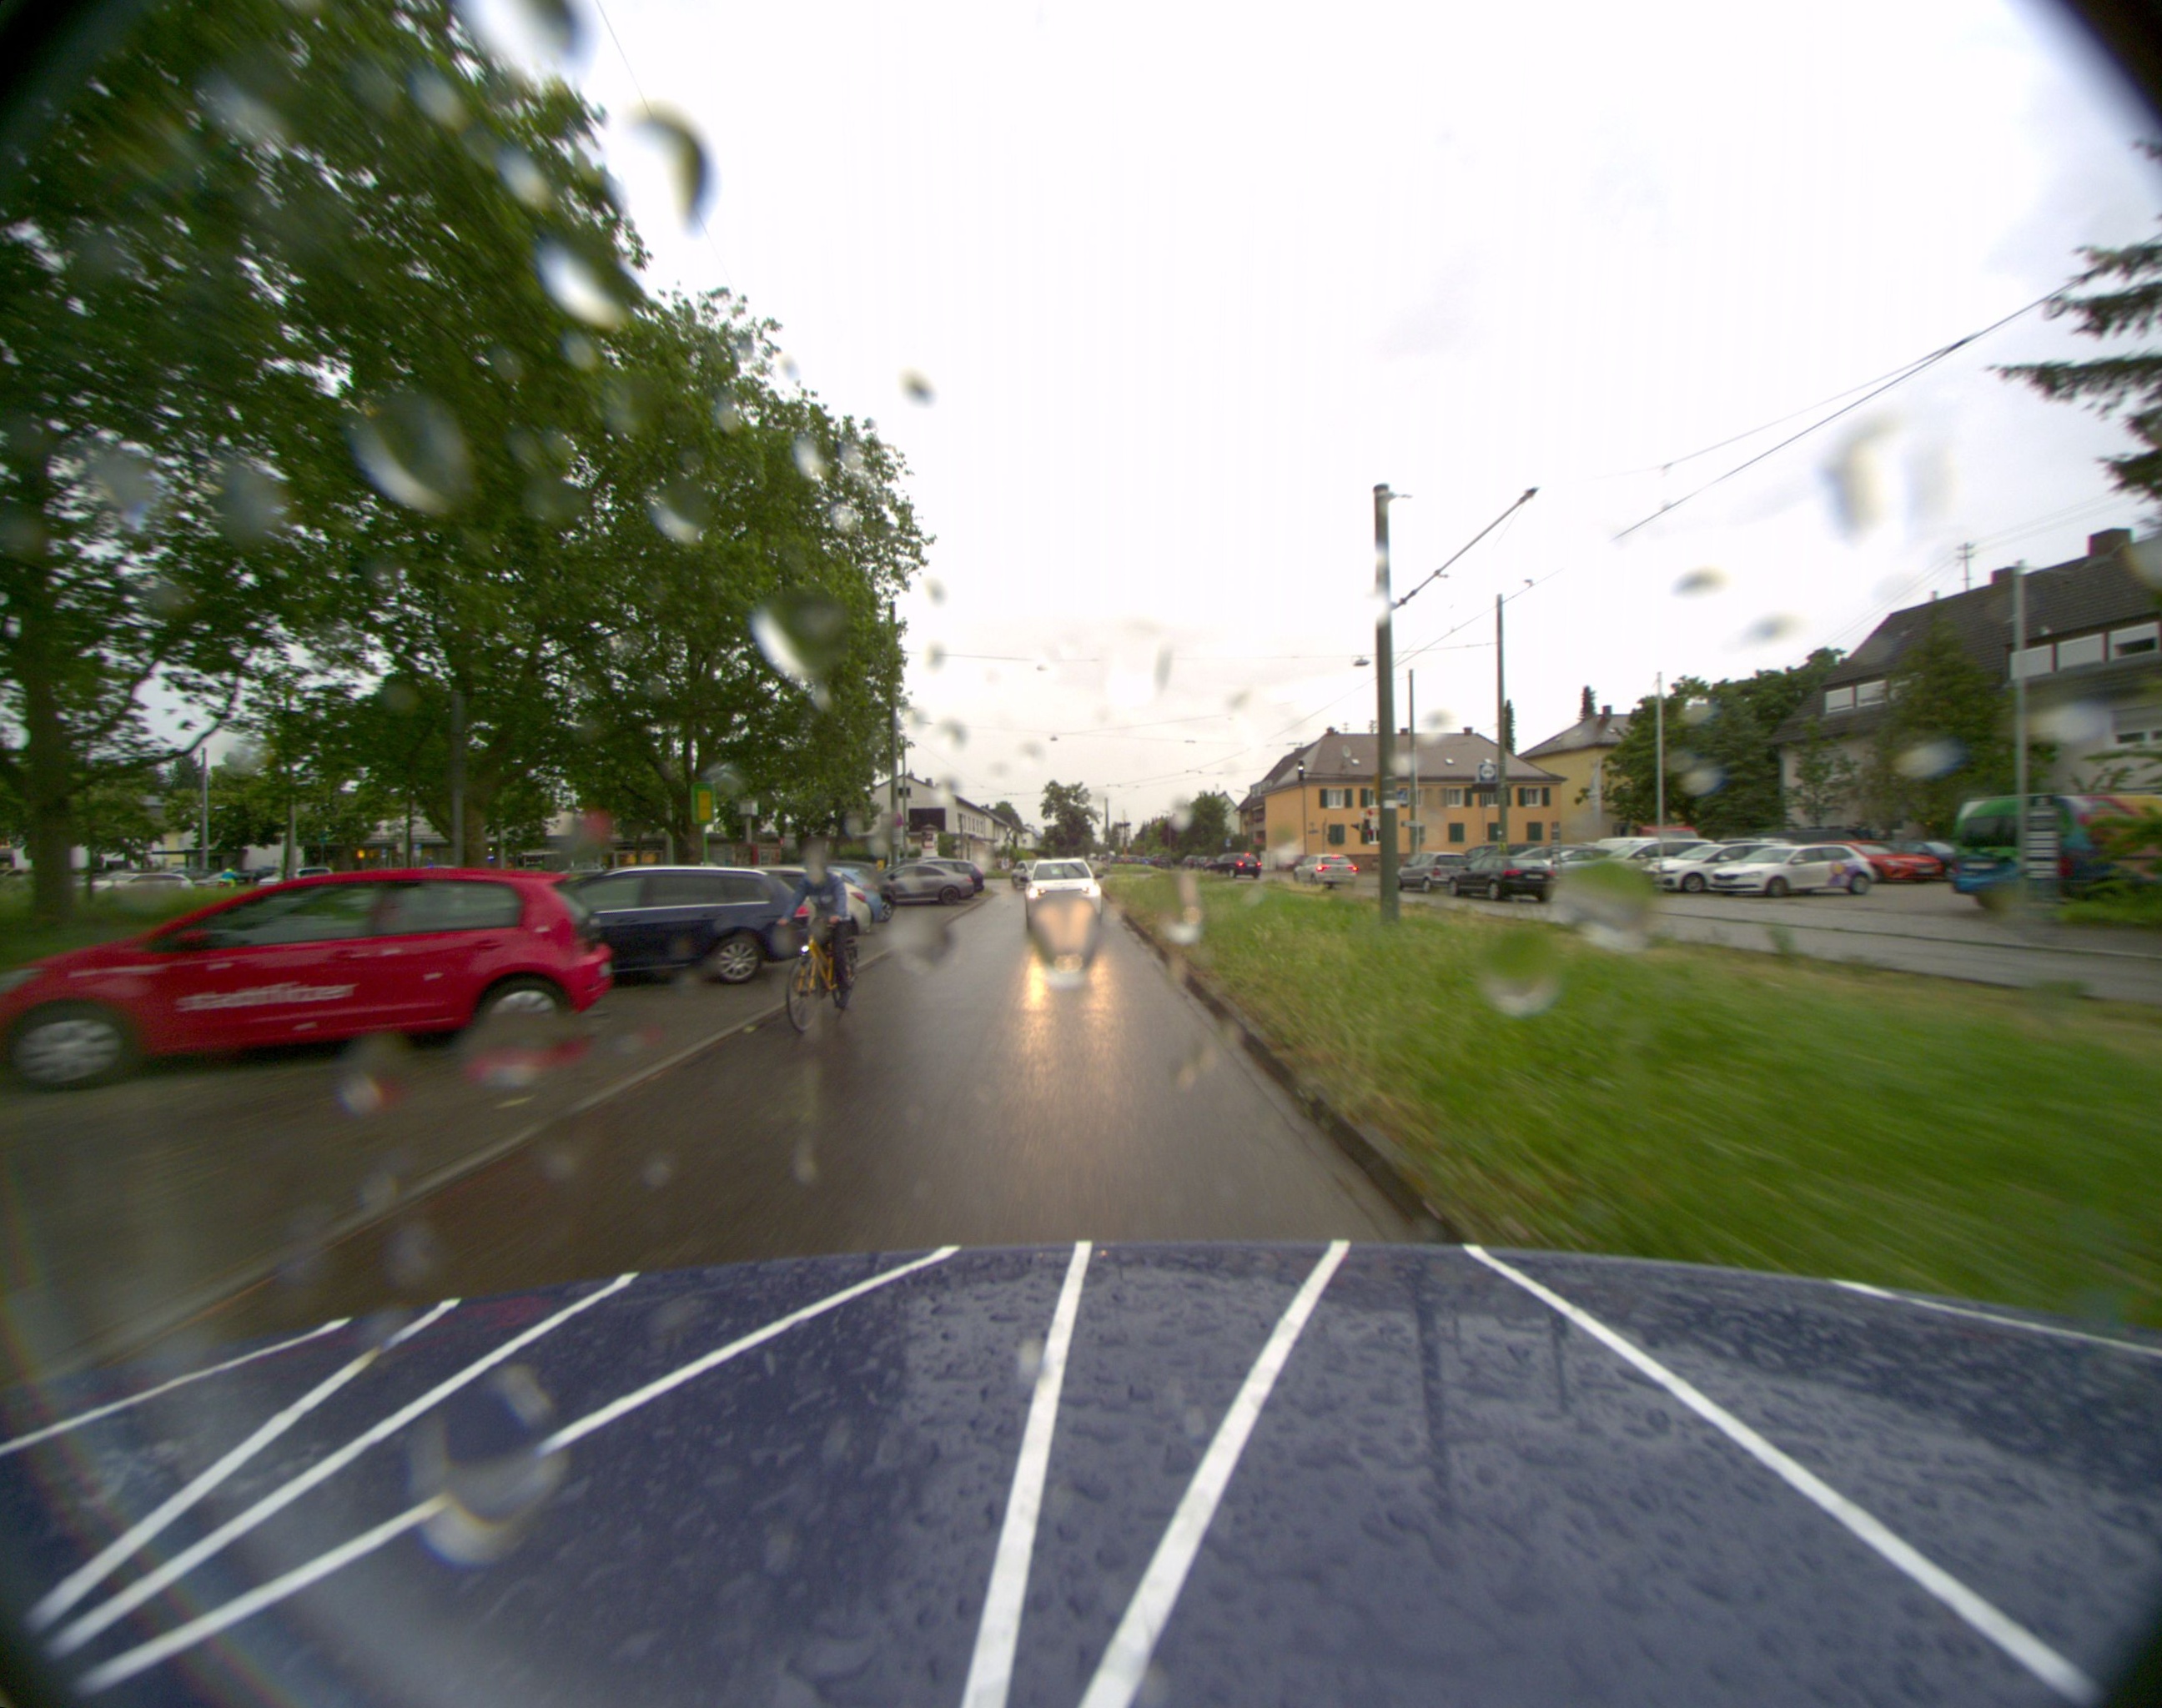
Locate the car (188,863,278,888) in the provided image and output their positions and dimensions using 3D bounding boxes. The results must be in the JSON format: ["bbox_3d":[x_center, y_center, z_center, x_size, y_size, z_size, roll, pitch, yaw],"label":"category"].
[{"bbox_3d":[-62.522,1.556,56.140,1.999,1.562,4.090,-1,2,0],"label":"car"}]

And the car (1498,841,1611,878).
[{"bbox_3d":[20.611,0.212,33.288,4.047,1.496,1.836,0,3,27],"label":"car"}]

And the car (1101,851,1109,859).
[{"bbox_3d":[6.600,0.274,207.858,1.999,1.784,3.997,-1,2,-3],"label":"car"}]

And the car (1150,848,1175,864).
[{"bbox_3d":[9.737,0.234,91.303,2.000,1.784,3.995,-1,2,-8],"label":"car"}]

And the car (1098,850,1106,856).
[{"bbox_3d":[6.234,-0.295,226.670,1.999,1.784,3.997,-1,2,-3],"label":"car"}]

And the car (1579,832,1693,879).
[{"bbox_3d":[25.045,0.059,34.493,1.998,2.002,4.447,0,0,1],"label":"car"}]

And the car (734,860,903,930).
[{"bbox_3d":[-6.396,0.934,18.610,3.524,1.497,1.749,1,1,-37],"label":"car"}]

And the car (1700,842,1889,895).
[{"bbox_3d":[20.839,0.404,22.319,3.838,1.388,1.722,-1,3,2],"label":"car"}]

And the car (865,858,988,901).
[{"bbox_3d":[-5.845,0.922,28.820,4.184,1.467,1.800,-1,0,-31],"label":"car"}]

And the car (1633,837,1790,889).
[{"bbox_3d":[20.465,0.275,24.768,3.613,1.564,1.722,-1,3,2],"label":"car"}]

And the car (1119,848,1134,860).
[{"bbox_3d":[7.305,-0.020,121.516,1.999,1.784,3.997,-1,2,-3],"label":"car"}]

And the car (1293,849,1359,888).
[{"bbox_3d":[10.407,0.588,32.530,1.605,1.416,3.818,-1,2,0],"label":"car"}]

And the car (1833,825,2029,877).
[{"bbox_3d":[29.696,-0.091,26.805,1.998,1.677,4.447,0,0,1],"label":"car"}]

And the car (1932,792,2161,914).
[{"bbox_3d":[21.947,-0.084,16.233,5.146,2.393,2.151,-1,3,-1],"label":"car"}]

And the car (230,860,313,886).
[{"bbox_3d":[-59.651,1.378,56.102,1.792,1.664,3.946,-1,2,0],"label":"car"}]

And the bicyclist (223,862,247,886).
[{"bbox_3d":[-53.183,1.248,47.759,0.726,1.508,0.697,-3,2,-29],"label":"bicyclist"}]

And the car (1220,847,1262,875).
[{"bbox_3d":[9.565,0.364,45.685,1.741,1.478,3.998,-1,2,1],"label":"car"}]

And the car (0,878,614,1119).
[{"bbox_3d":[-5.990,0.962,6.185,3.604,1.471,1.634,1,0,-27],"label":"car"}]

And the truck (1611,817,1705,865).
[{"bbox_3d":[29.234,-0.625,38.779,1.996,2.259,6.111,0,0,19],"label":"truck"}]

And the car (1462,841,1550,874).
[{"bbox_3d":[21.805,0.188,39.018,3.861,1.569,1.811,-1,0,31],"label":"car"}]

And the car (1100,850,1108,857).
[{"bbox_3d":[6.455,-0.252,214.023,1.999,1.784,3.997,-1,2,-3],"label":"car"}]

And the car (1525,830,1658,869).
[{"bbox_3d":[20.405,-0.198,30.564,4.050,1.496,1.835,0,3,16],"label":"car"}]

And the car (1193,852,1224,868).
[{"bbox_3d":[11.964,0.522,71.476,1.966,1.388,4.503,-1,1,-3],"label":"car"}]

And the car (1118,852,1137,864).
[{"bbox_3d":[5.877,0.508,96.107,1.999,1.467,3.999,-1,0,-2],"label":"car"}]

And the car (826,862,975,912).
[{"bbox_3d":[-6.047,1.066,25.647,4.556,1.467,1.800,-1,0,-30],"label":"car"}]

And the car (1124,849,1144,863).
[{"bbox_3d":[7.215,0.238,103.415,2.000,1.784,3.995,-1,2,-8],"label":"car"}]

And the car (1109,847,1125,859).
[{"bbox_3d":[5.416,-0.190,114.693,1.999,1.578,3.998,-1,2,-1],"label":"car"}]

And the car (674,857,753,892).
[{"bbox_3d":[-23.477,1.288,48.700,3.997,2.003,1.999,-1,3,1],"label":"car"}]

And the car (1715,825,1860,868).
[{"bbox_3d":[29.381,-0.300,31.813,1.998,1.677,4.447,0,0,1],"label":"car"}]

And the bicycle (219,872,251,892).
[{"bbox_3d":[-53.149,1.741,47.750,0.729,1.123,1.749,-3,1,-28],"label":"bicycle"}]

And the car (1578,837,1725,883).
[{"bbox_3d":[20.668,0.235,27.683,3.866,1.569,1.809,-1,0,10],"label":"car"}]

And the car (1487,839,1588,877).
[{"bbox_3d":[21.542,0.194,35.970,3.989,1.707,2.004,-1,0,31],"label":"car"}]

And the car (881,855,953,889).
[{"bbox_3d":[-10.495,1.138,48.727,3.994,2.003,2.000,0,4,9],"label":"car"}]

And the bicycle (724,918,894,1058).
[{"bbox_3d":[-2.582,1.231,7.494,0.754,1.066,1.928,-1,-1,8],"label":"bicycle"}]

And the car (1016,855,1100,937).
[{"bbox_3d":[-0.454,0.910,18.320,1.719,1.614,3.714,-3,1,2],"label":"car"}]

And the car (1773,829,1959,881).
[{"bbox_3d":[27.336,0.031,26.718,1.998,1.677,4.447,0,0,1],"label":"car"}]

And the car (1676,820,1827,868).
[{"bbox_3d":[24.821,-0.348,28.384,1.759,1.677,4.447,0,0,1],"label":"car"}]

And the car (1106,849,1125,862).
[{"bbox_3d":[4.085,0.169,90.516,1.999,1.467,3.999,-1,0,-2],"label":"car"}]

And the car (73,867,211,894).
[{"bbox_3d":[-54.821,1.531,44.543,1.998,1.449,4.843,-1,-1,1],"label":"car"}]

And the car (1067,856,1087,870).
[{"bbox_3d":[-0.520,1.118,93.444,1.787,1.454,4.001,-1,2,9],"label":"car"}]

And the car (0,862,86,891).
[{"bbox_3d":[-78.785,1.665,57.126,1.897,1.932,4.547,-1,2,0],"label":"car"}]

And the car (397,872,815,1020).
[{"bbox_3d":[-5.734,0.986,9.648,4.130,1.471,1.861,1,0,-33],"label":"car"}]

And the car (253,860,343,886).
[{"bbox_3d":[-57.451,1.352,55.871,1.999,1.664,4.336,-1,2,0],"label":"car"}]

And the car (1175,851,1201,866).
[{"bbox_3d":[10.901,0.412,77.624,1.759,1.325,3.997,-1,2,-4],"label":"car"}]

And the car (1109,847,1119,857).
[{"bbox_3d":[7.224,-0.391,167.961,1.999,2.023,3.998,-1,2,0],"label":"car"}]

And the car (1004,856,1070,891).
[{"bbox_3d":[-2.238,0.917,37.695,1.966,1.544,3.991,0,1,-25],"label":"car"}]

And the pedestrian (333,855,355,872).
[{"bbox_3d":[-68.062,0.887,70.199,0.946,1.575,1.081,0,1,11],"label":"pedestrian"}]

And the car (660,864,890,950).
[{"bbox_3d":[-6.240,1.039,15.730,4.009,1.492,1.819,2,0,-41],"label":"car"}]

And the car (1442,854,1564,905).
[{"bbox_3d":[13.741,0.763,25.079,1.721,1.331,4.387,-1,2,2],"label":"car"}]

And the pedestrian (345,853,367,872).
[{"bbox_3d":[-66.717,0.802,69.911,0.946,1.704,1.081,0,1,11],"label":"pedestrian"}]

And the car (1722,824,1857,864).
[{"bbox_3d":[31.940,-0.424,34.462,1.998,1.677,4.447,0,0,1],"label":"car"}]

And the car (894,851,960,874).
[{"bbox_3d":[-11.808,0.619,58.359,4.567,1.597,2.000,-1,3,7],"label":"car"}]

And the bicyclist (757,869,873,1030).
[{"bbox_3d":[-2.587,0.894,7.462,0.752,1.476,0.847,-1,0,8],"label":"bicyclist"}]

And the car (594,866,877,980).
[{"bbox_3d":[-5.775,1.020,12.891,4.008,1.544,1.955,0,2,-38],"label":"car"}]

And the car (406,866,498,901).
[{"bbox_3d":[-39.566,1.844,47.867,3.997,2.003,1.999,-1,3,1],"label":"car"}]

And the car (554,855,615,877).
[{"bbox_3d":[-38.185,0.927,58.508,3.625,1.495,1.549,-2,3,-17],"label":"car"}]

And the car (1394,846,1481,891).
[{"bbox_3d":[13.705,0.507,29.463,1.721,1.496,3.642,-1,2,1],"label":"car"}]
